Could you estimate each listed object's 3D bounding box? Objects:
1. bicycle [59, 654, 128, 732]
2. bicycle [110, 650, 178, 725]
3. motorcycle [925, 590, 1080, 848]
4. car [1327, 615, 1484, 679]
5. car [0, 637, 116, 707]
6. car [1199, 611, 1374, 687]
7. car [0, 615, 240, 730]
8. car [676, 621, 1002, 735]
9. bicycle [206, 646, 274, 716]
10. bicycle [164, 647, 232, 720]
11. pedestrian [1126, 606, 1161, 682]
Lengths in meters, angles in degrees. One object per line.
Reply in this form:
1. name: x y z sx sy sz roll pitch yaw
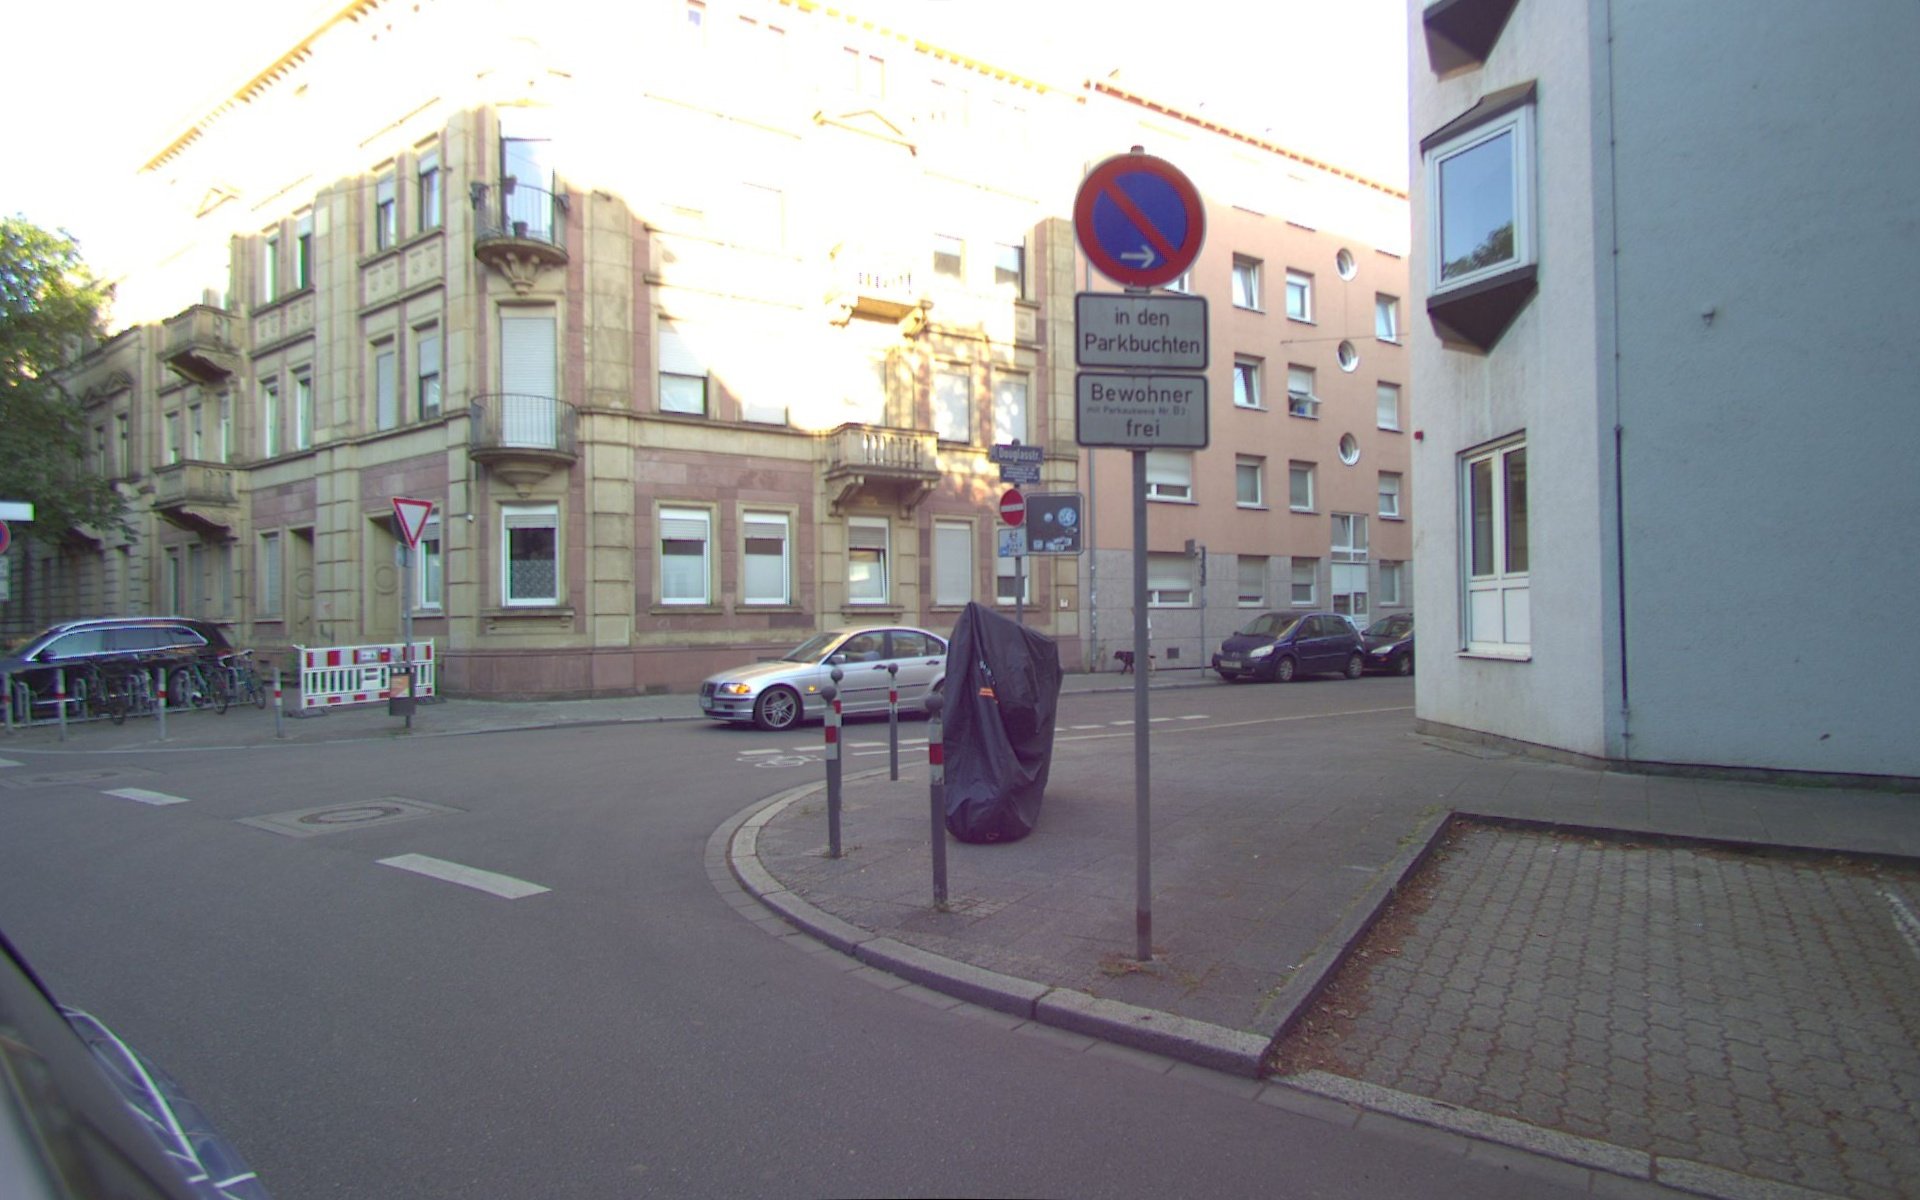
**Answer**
1. bicycle: -13.391 1.409 15.623 1.866 1.097 0.360 -1 0 36
2. bicycle: -13.122 1.384 16.256 1.866 1.097 0.360 -1 0 36
3. motorcycle: 0.376 0.750 7.293 0.663 1.567 2.152 -1 -2 14
4. car: 11.740 1.196 26.579 4.211 1.525 1.699 0 -2 -33
5. car: -21.698 1.611 22.362 1.773 1.499 4.392 -2 -2 36
6. car: 7.696 1.109 23.778 3.985 1.637 1.700 0 -2 -32
7. car: -15.599 1.215 17.720 1.773 1.751 4.536 -1 1 36
8. car: -1.692 1.067 14.751 4.396 1.414 1.687 0 -4 -33
9. bicycle: -12.296 1.352 17.262 1.866 1.097 0.360 -1 0 36
10. bicycle: -12.636 1.356 16.760 1.866 1.097 0.360 -1 0 36
11. pedestrian: 4.309 1.019 23.767 0.559 1.757 0.552 1 -2 -34
